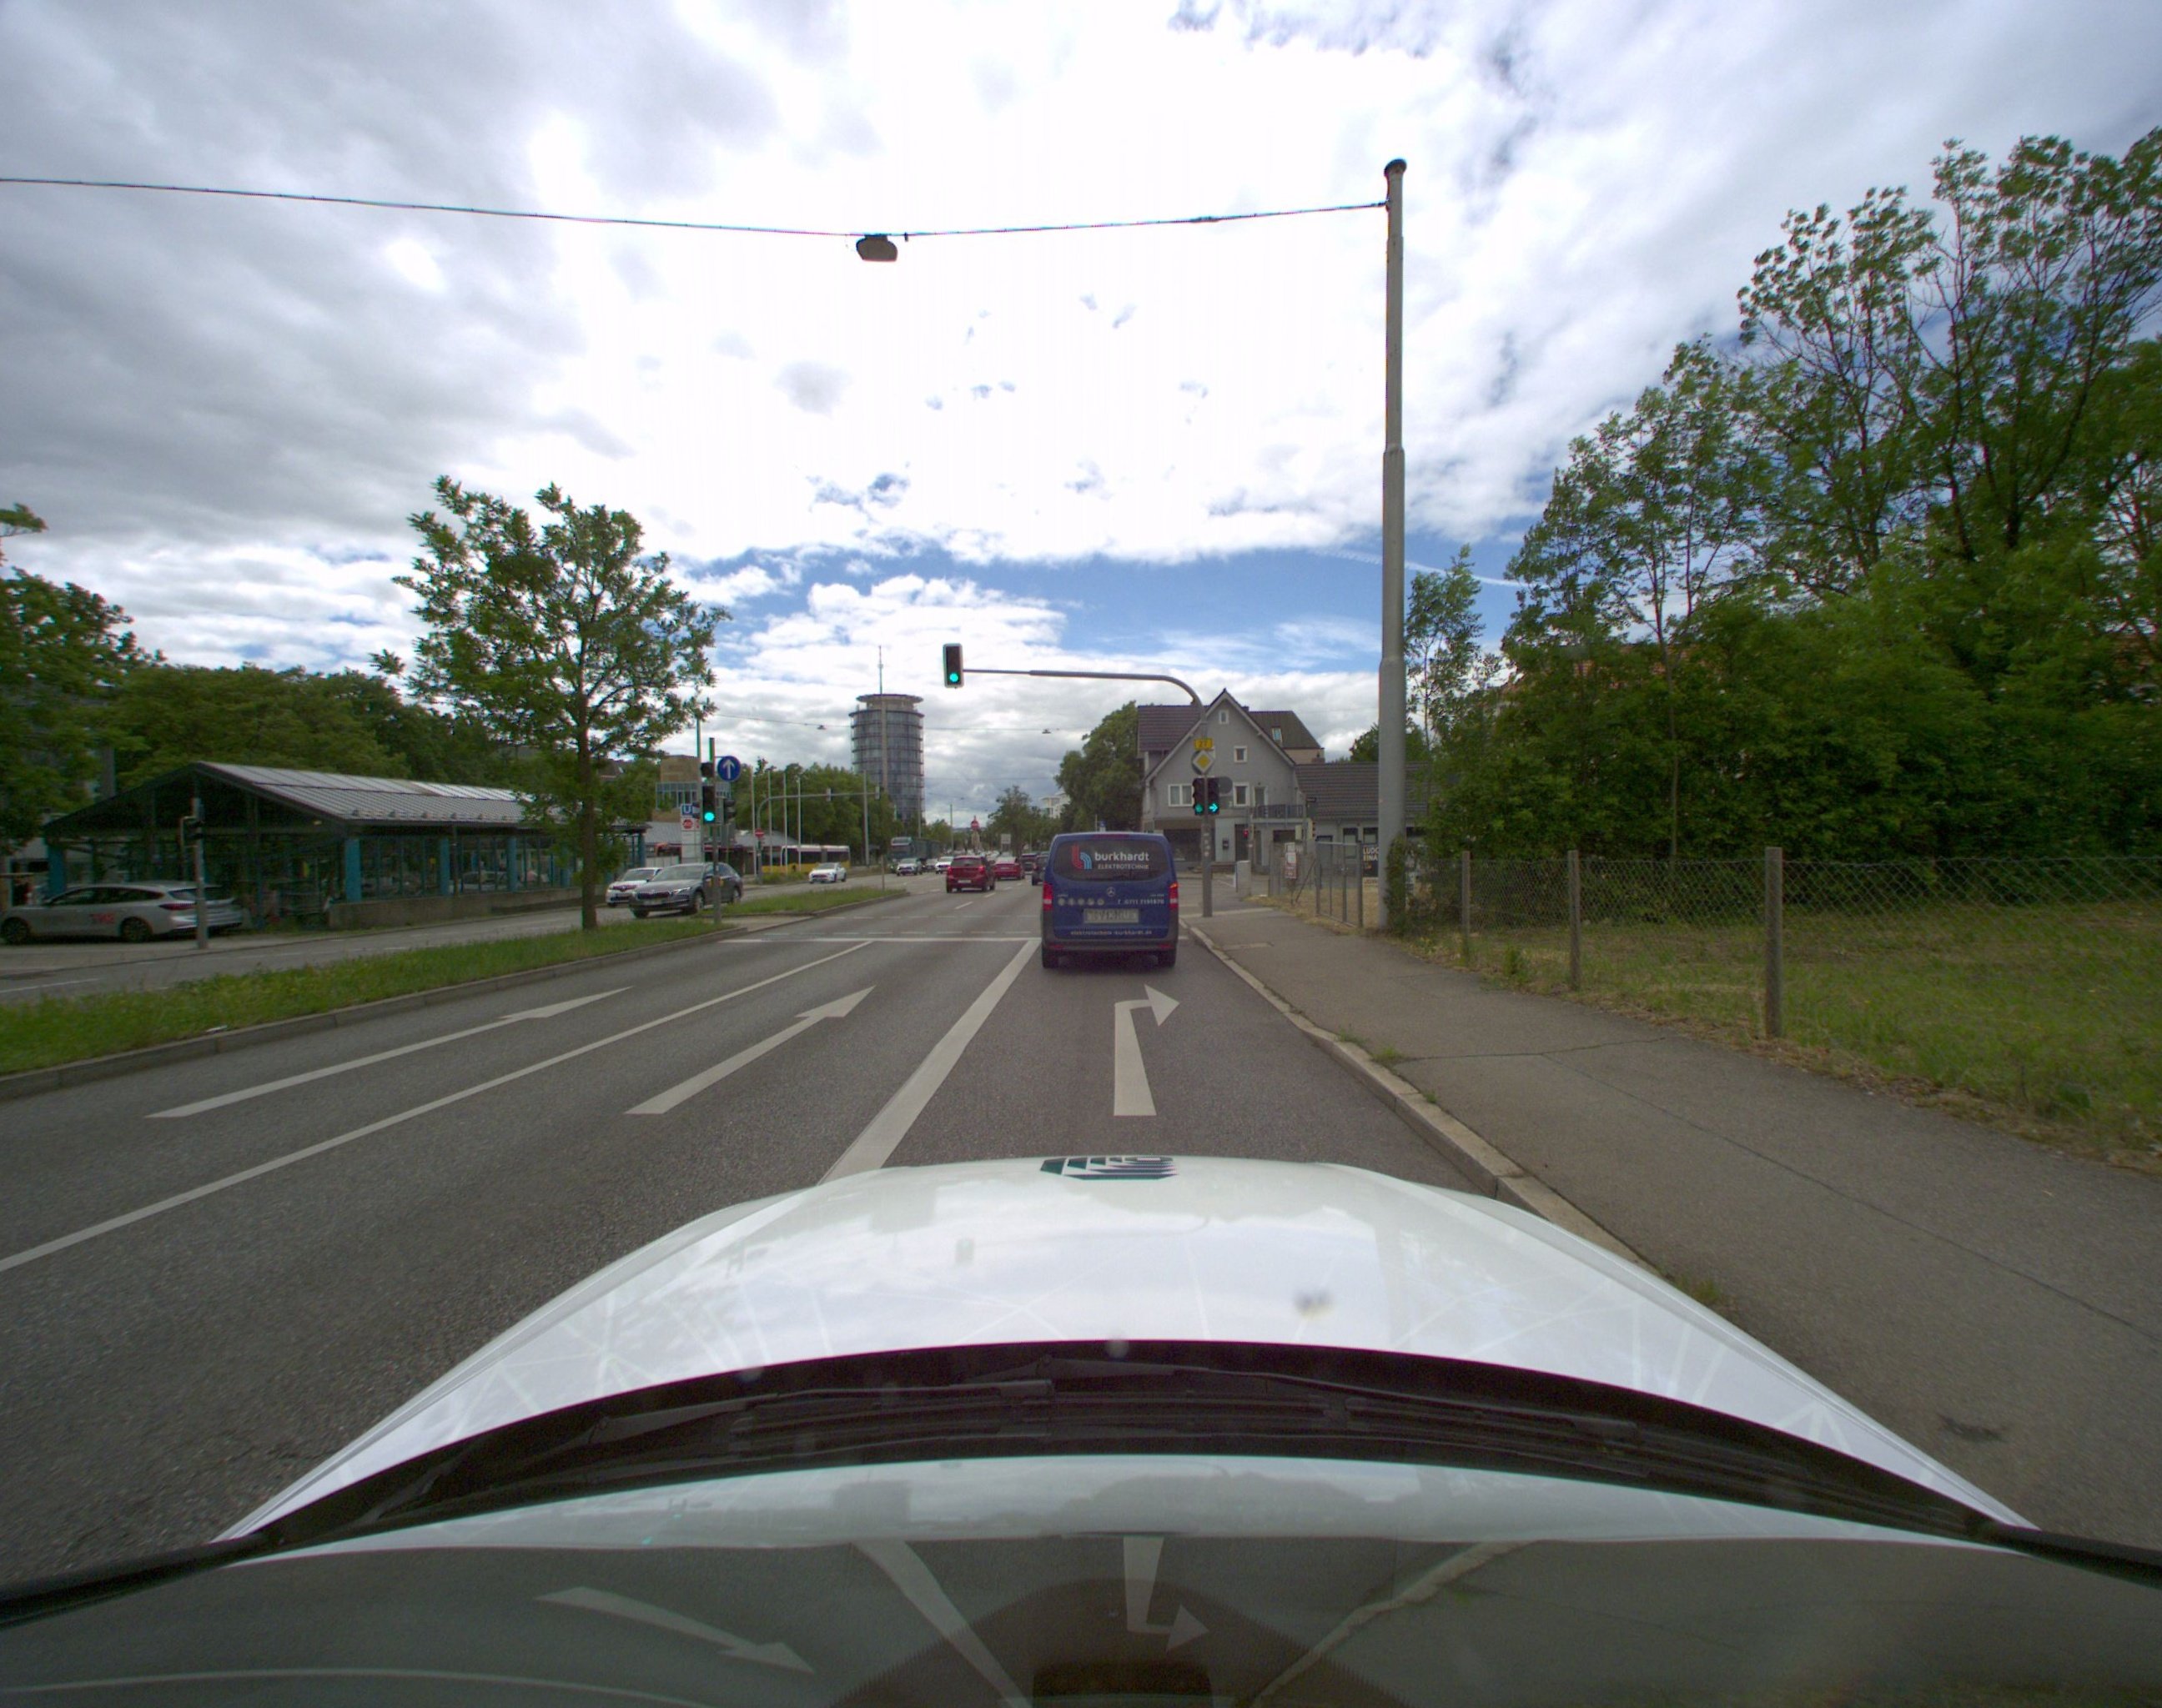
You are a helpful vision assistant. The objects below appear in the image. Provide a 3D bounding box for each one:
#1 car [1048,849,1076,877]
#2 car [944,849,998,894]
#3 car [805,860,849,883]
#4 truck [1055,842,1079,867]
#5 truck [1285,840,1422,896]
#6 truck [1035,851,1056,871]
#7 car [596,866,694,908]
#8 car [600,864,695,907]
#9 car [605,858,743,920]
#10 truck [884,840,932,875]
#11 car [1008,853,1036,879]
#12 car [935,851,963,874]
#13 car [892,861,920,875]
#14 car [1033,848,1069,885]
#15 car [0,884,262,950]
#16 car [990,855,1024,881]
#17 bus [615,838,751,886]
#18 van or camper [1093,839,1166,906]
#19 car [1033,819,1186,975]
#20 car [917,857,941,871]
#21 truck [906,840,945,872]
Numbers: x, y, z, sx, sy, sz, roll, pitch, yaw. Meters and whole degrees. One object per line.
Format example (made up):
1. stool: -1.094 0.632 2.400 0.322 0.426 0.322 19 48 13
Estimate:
1. car: -1.272 0.578 54.701 1.741 1.723 3.998 -2 0 -1
2. car: -4.630 0.702 34.774 1.741 1.723 3.999 -2 0 0
3. car: -18.429 1.226 59.295 1.727 1.574 4.505 -2 0 -1
4. truck: -1.269 0.049 74.940 1.986 2.165 5.561 1 0 1
5. truck: 13.949 0.711 41.880 6.364 2.701 2.000 1 -1 0
6. truck: -3.969 0.765 92.796 1.986 2.165 5.561 1 0 1
7. car: -17.751 1.314 33.385 1.741 1.517 4.001 1 0 1
8. car: -17.673 1.252 33.427 1.617 1.574 4.002 -2 0 2
9. car: -11.743 0.944 23.907 1.990 1.574 4.509 -2 0 -4
10. truck: -19.406 0.415 92.108 3.359 3.727 11.272 -1 0 -2
11. car: -4.745 0.923 64.870 1.992 2.013 3.990 0 1 -8
12. car: -12.730 0.799 78.480 1.988 2.013 4.178 -2 0 -1
13. car: -16.366 1.287 76.498 1.825 1.262 3.997 -2 0 -2
14. car: -1.530 0.609 41.912 1.742 1.723 3.997 -2 0 -2
15. car: -23.561 1.512 20.281 3.989 1.354 1.992 -2 0 -11
16. car: -4.663 0.889 50.957 1.867 1.486 3.988 -2 -1 -8
17. bus: -28.791 0.546 59.867 2.942 3.133 12.179 -1 0 6
18. van or camper: 1.772 0.534 27.981 1.982 2.013 5.110 1 2 9
19. car: 0.347 0.559 12.678 1.942 1.965 4.540 -1 0 -1
20. car: -16.549 1.067 88.692 1.792 1.417 3.998 -2 0 -1
21. truck: -19.516 0.269 102.646 3.358 3.727 8.024 -2 0 -1
